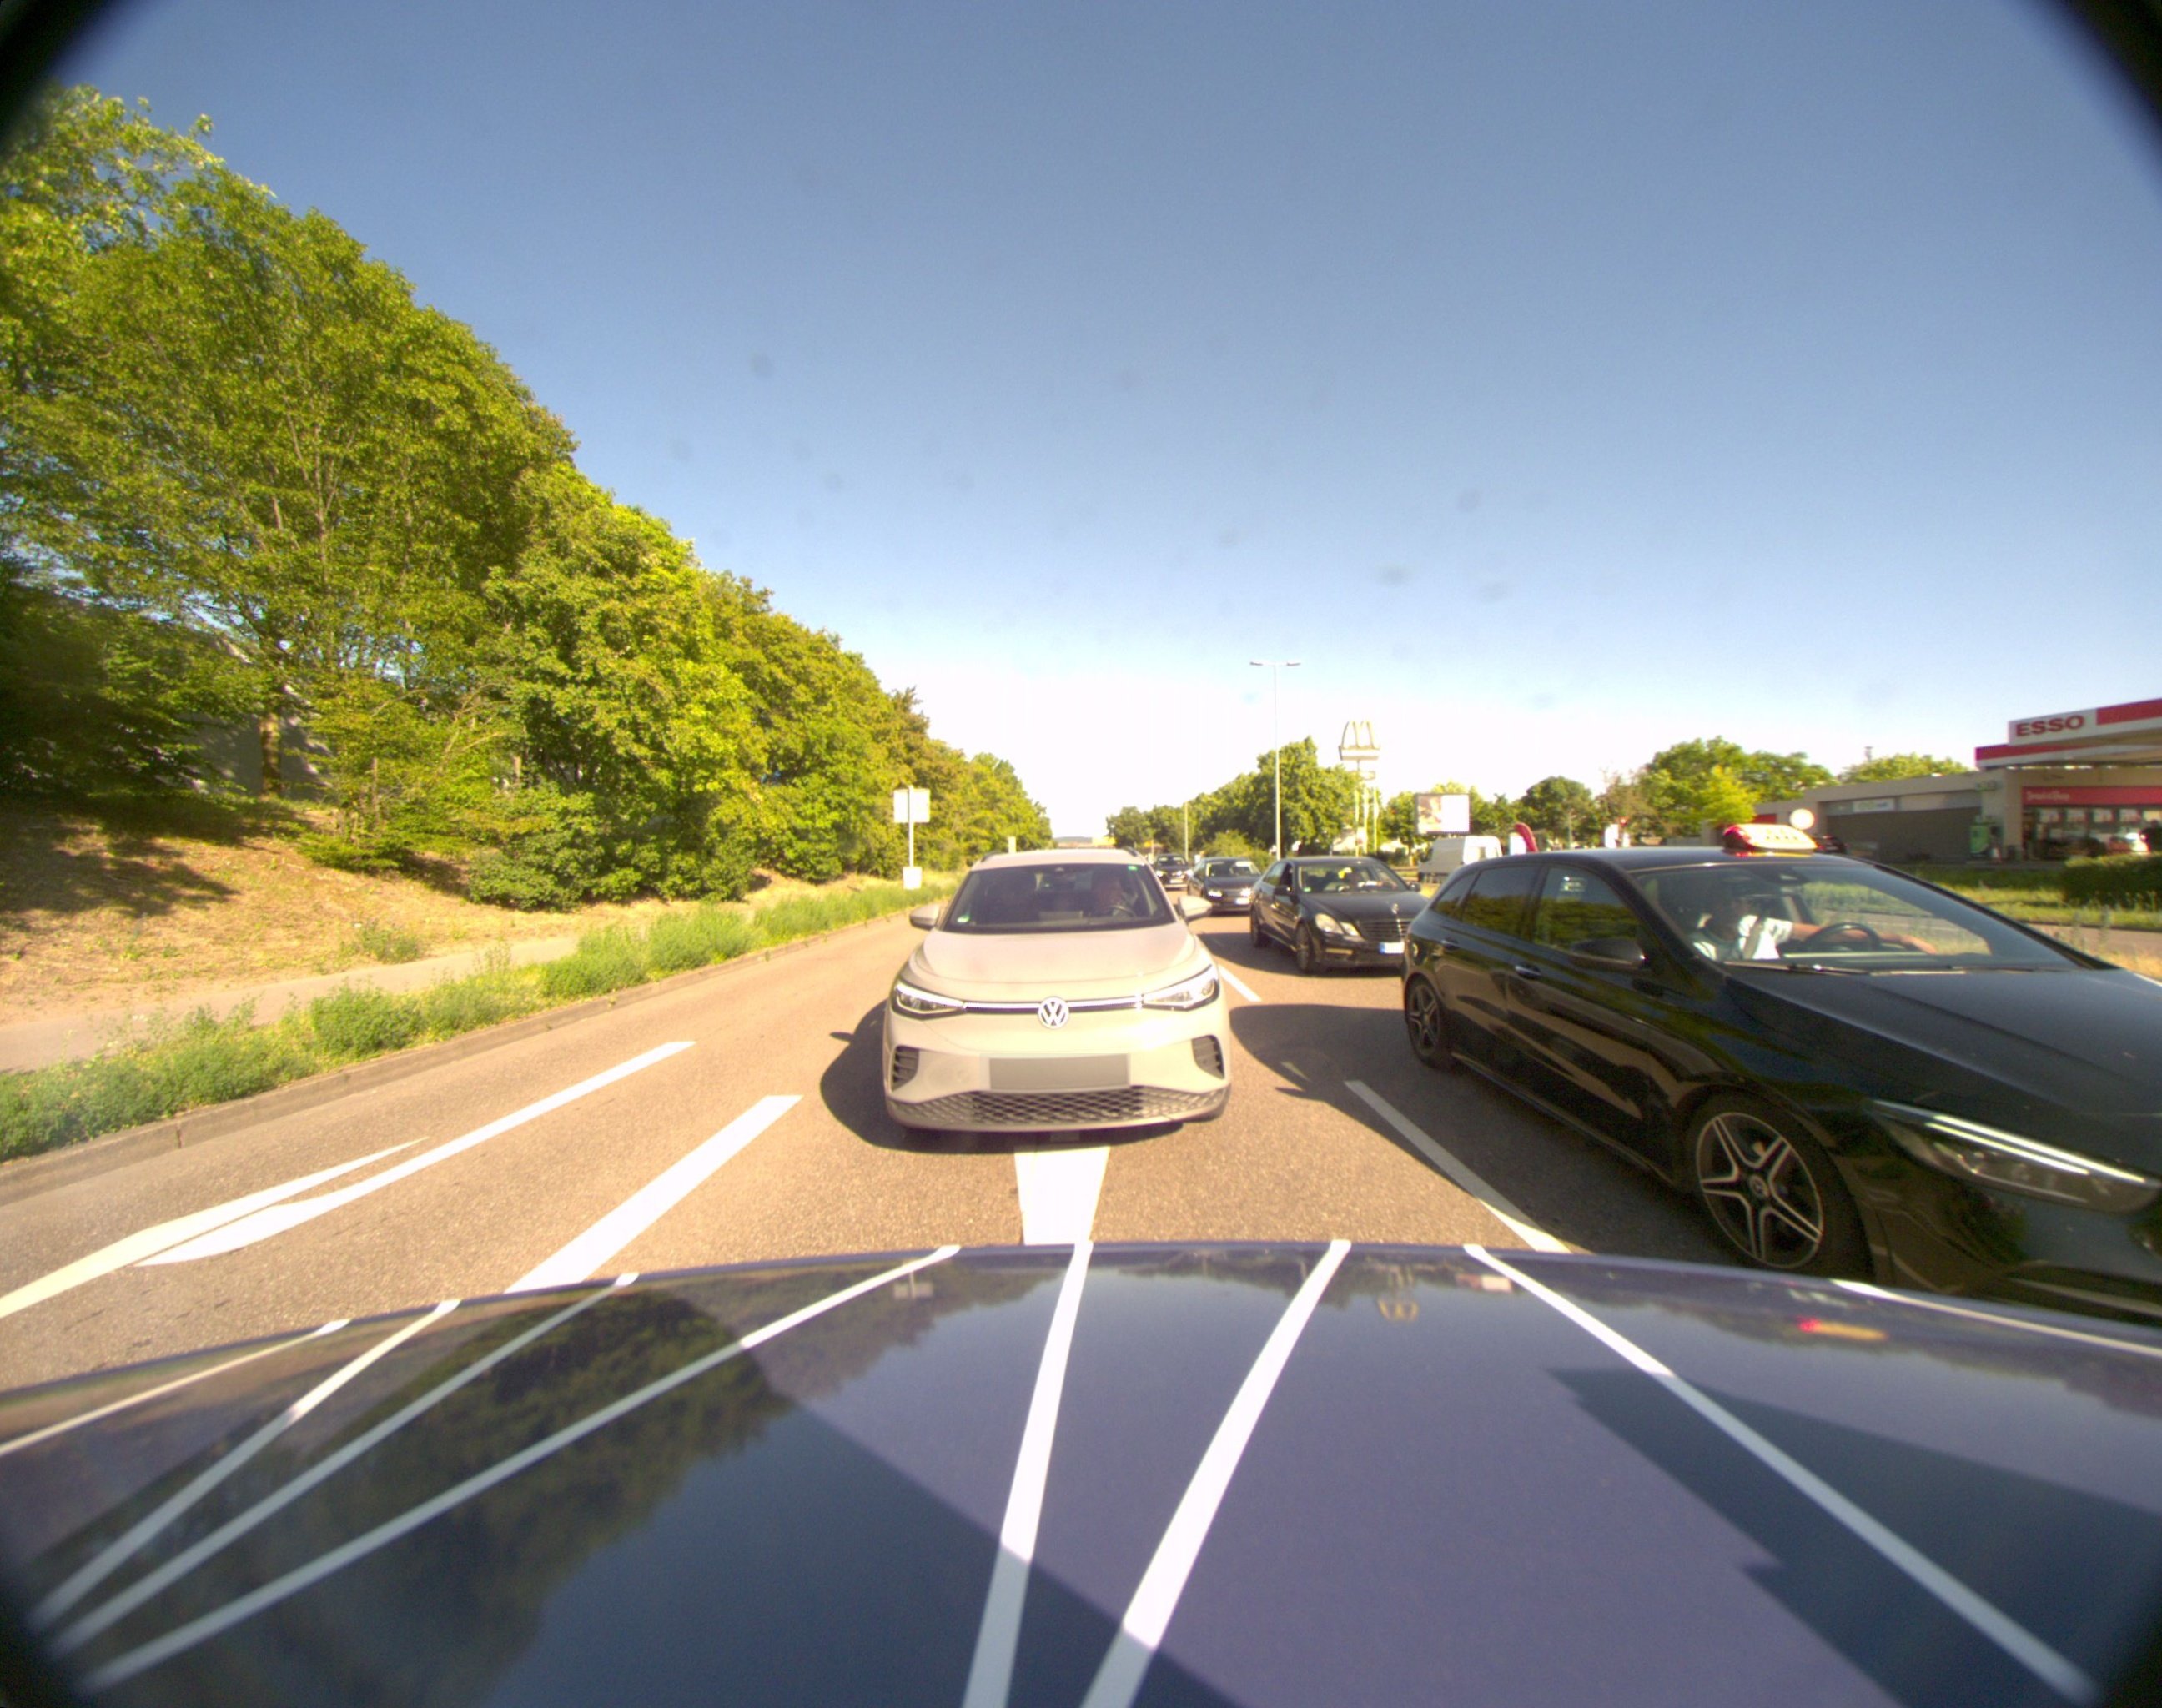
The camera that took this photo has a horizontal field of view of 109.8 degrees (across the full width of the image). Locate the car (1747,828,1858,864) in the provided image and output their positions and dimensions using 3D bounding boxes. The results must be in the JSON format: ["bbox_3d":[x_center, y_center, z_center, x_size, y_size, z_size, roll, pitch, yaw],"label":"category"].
[{"bbox_3d":[37.696,-0.394,39.852,1.998,1.759,4.118,-2,0,2],"label":"car"}]

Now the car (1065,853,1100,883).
[{"bbox_3d":[0.080,0.744,41.032,1.765,1.503,3.760,-2,0,1],"label":"car"}]

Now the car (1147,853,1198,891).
[{"bbox_3d":[4.090,0.772,34.581,1.862,1.578,4.403,-1,0,1],"label":"car"}]

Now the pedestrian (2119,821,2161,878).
[{"bbox_3d":[38.013,-0.167,27.138,0.703,2.002,0.840,-1,0,1],"label":"pedestrian"}]

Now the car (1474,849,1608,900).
[{"bbox_3d":[16.542,0.690,27.666,1.999,1.643,4.613,1,0,-1],"label":"car"}]

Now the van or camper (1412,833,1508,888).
[{"bbox_3d":[19.679,0.295,39.844,1.999,2.635,5.956,1,0,0],"label":"van or camper"}]

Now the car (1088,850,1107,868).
[{"bbox_3d":[2.132,0.613,98.809,2.289,2.274,5.382,-1,0,1],"label":"car"}]

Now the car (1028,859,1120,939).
[{"bbox_3d":[-0.118,0.897,16.800,1.765,1.503,3.760,-2,0,1],"label":"car"}]

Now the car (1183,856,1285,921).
[{"bbox_3d":[3.941,0.827,20.256,1.862,1.472,4.403,-1,0,1],"label":"car"}]

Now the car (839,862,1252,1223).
[{"bbox_3d":[-0.137,0.897,5.484,1.871,1.588,3.932,-2,0,1],"label":"car"}]

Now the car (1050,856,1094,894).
[{"bbox_3d":[-0.348,0.886,33.301,1.765,1.503,3.760,-2,0,1],"label":"car"}]

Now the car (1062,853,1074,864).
[{"bbox_3d":[-2.665,0.899,156.716,2.289,2.037,5.381,-1,0,-1],"label":"car"}]

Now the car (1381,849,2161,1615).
[{"bbox_3d":[3.153,0.807,3.695,1.804,1.616,4.188,-1,0,2],"label":"car"}]

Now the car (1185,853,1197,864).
[{"bbox_3d":[20.377,0.801,141.233,1.998,2.002,4.001,-2,1,5],"label":"car"}]

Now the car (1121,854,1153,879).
[{"bbox_3d":[3.678,0.802,50.608,1.862,1.578,4.403,-1,0,1],"label":"car"}]

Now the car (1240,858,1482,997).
[{"bbox_3d":[3.634,0.849,10.814,1.862,1.515,4.403,-1,0,1],"label":"car"}]

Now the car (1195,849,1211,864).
[{"bbox_3d":[17.315,0.285,107.774,1.997,2.002,4.001,-2,1,7],"label":"car"}]
